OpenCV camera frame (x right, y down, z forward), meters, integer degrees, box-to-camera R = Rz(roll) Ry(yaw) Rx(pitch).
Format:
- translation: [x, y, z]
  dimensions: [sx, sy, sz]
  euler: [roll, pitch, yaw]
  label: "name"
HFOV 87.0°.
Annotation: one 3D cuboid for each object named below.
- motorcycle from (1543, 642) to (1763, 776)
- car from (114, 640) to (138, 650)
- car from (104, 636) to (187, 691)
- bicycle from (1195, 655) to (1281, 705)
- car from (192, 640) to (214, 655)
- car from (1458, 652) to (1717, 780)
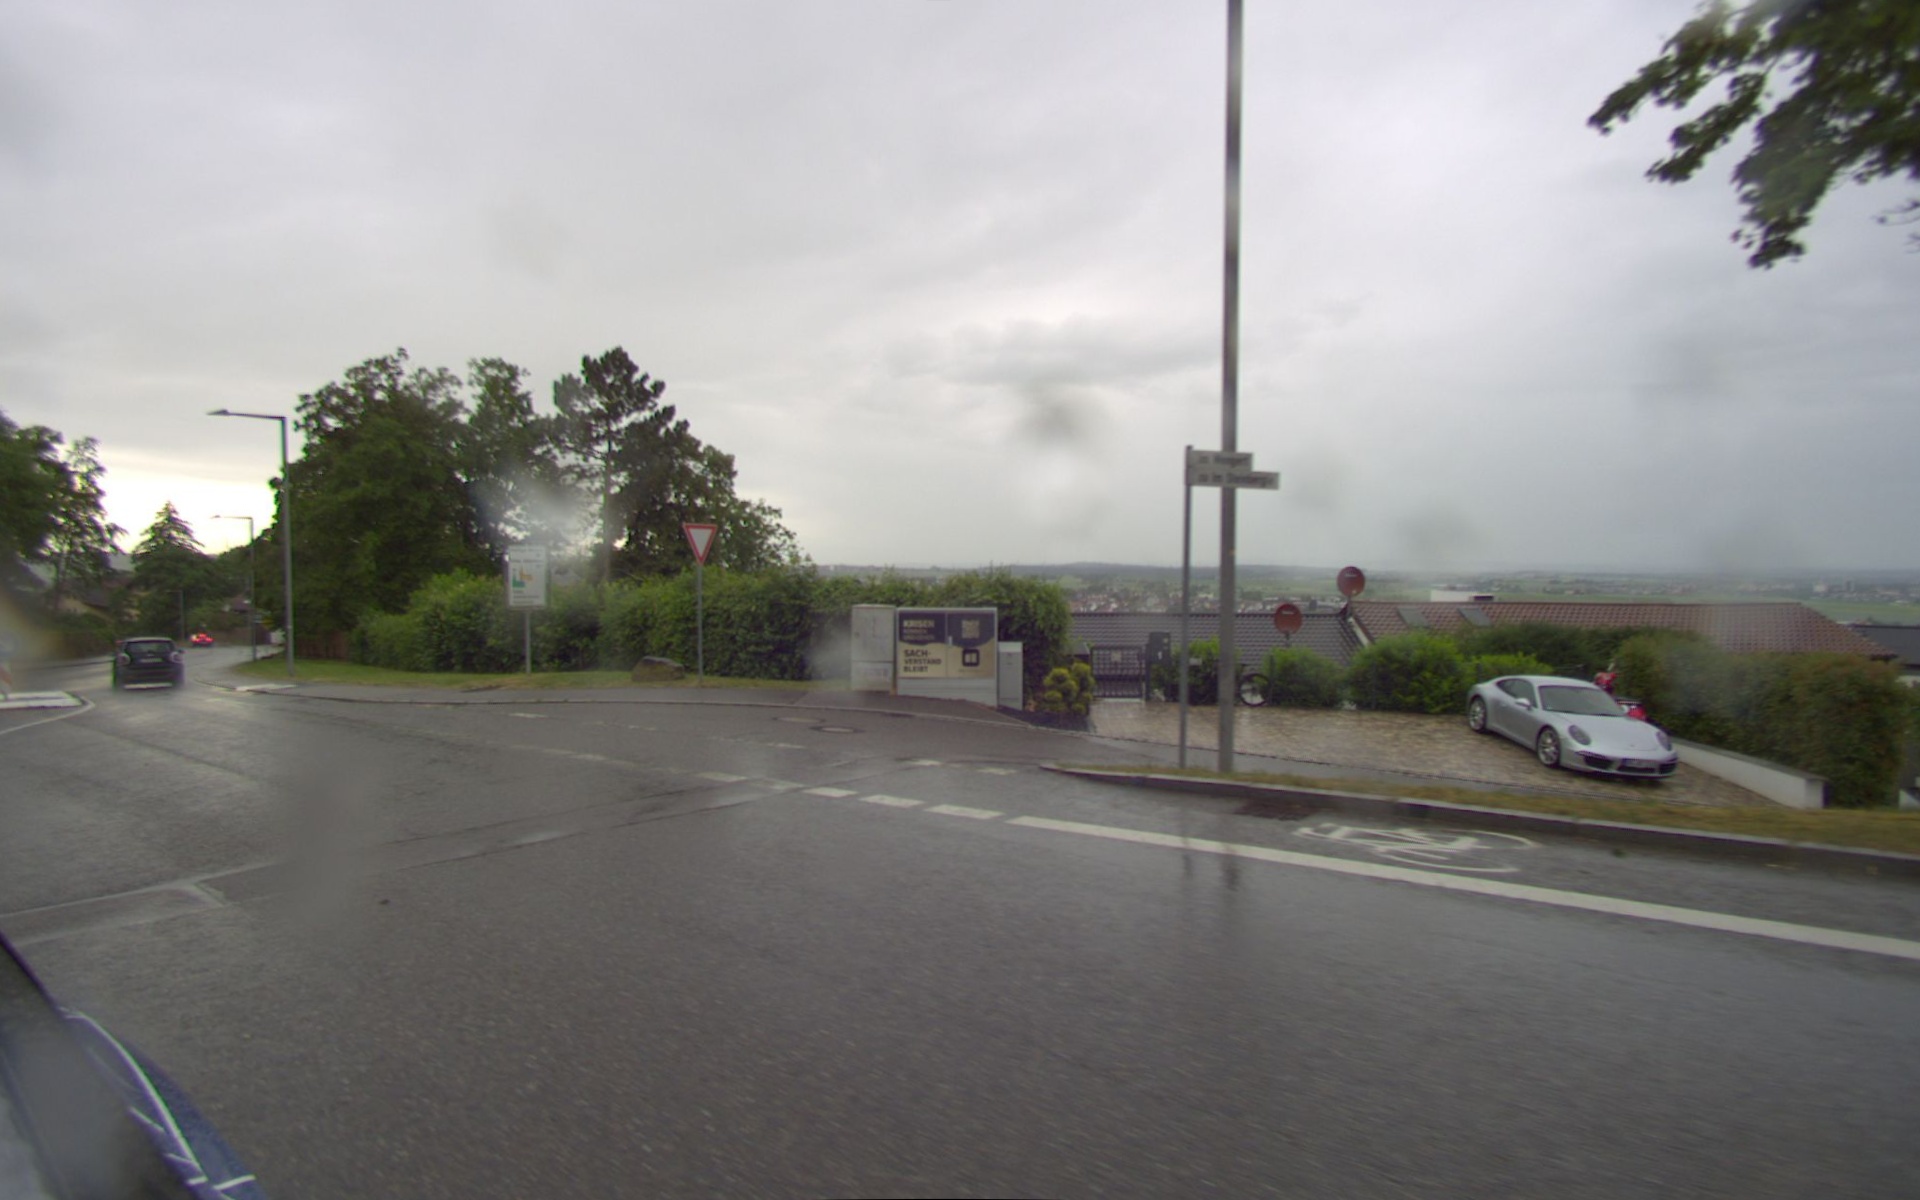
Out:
- translation: [12.230, 1.834, 18.174]
  dimensions: [1.201, 1.274, 3.876]
  euler: [4, 10, 1]
  label: "motorcycle"
- translation: [-126.689, 6.848, 153.690]
  dimensions: [4.160, 1.523, 1.818]
  euler: [-2, 0, 36]
  label: "car"
- translation: [-25.549, 1.918, 31.675]
  dimensions: [1.809, 1.532, 4.633]
  euler: [0, -1, -42]
  label: "car"
- translation: [5.786, 1.662, 21.127]
  dimensions: [1.649, 0.972, 0.429]
  euler: [2, 0, 5]
  label: "bicycle"
- translation: [-90.753, 5.672, 121.305]
  dimensions: [1.894, 1.660, 4.553]
  euler: [0, -1, -41]
  label: "car"
- translation: [10.680, 1.899, 17.665]
  dimensions: [1.762, 1.262, 4.247]
  euler: [4, 5, 0]
  label: "car"
